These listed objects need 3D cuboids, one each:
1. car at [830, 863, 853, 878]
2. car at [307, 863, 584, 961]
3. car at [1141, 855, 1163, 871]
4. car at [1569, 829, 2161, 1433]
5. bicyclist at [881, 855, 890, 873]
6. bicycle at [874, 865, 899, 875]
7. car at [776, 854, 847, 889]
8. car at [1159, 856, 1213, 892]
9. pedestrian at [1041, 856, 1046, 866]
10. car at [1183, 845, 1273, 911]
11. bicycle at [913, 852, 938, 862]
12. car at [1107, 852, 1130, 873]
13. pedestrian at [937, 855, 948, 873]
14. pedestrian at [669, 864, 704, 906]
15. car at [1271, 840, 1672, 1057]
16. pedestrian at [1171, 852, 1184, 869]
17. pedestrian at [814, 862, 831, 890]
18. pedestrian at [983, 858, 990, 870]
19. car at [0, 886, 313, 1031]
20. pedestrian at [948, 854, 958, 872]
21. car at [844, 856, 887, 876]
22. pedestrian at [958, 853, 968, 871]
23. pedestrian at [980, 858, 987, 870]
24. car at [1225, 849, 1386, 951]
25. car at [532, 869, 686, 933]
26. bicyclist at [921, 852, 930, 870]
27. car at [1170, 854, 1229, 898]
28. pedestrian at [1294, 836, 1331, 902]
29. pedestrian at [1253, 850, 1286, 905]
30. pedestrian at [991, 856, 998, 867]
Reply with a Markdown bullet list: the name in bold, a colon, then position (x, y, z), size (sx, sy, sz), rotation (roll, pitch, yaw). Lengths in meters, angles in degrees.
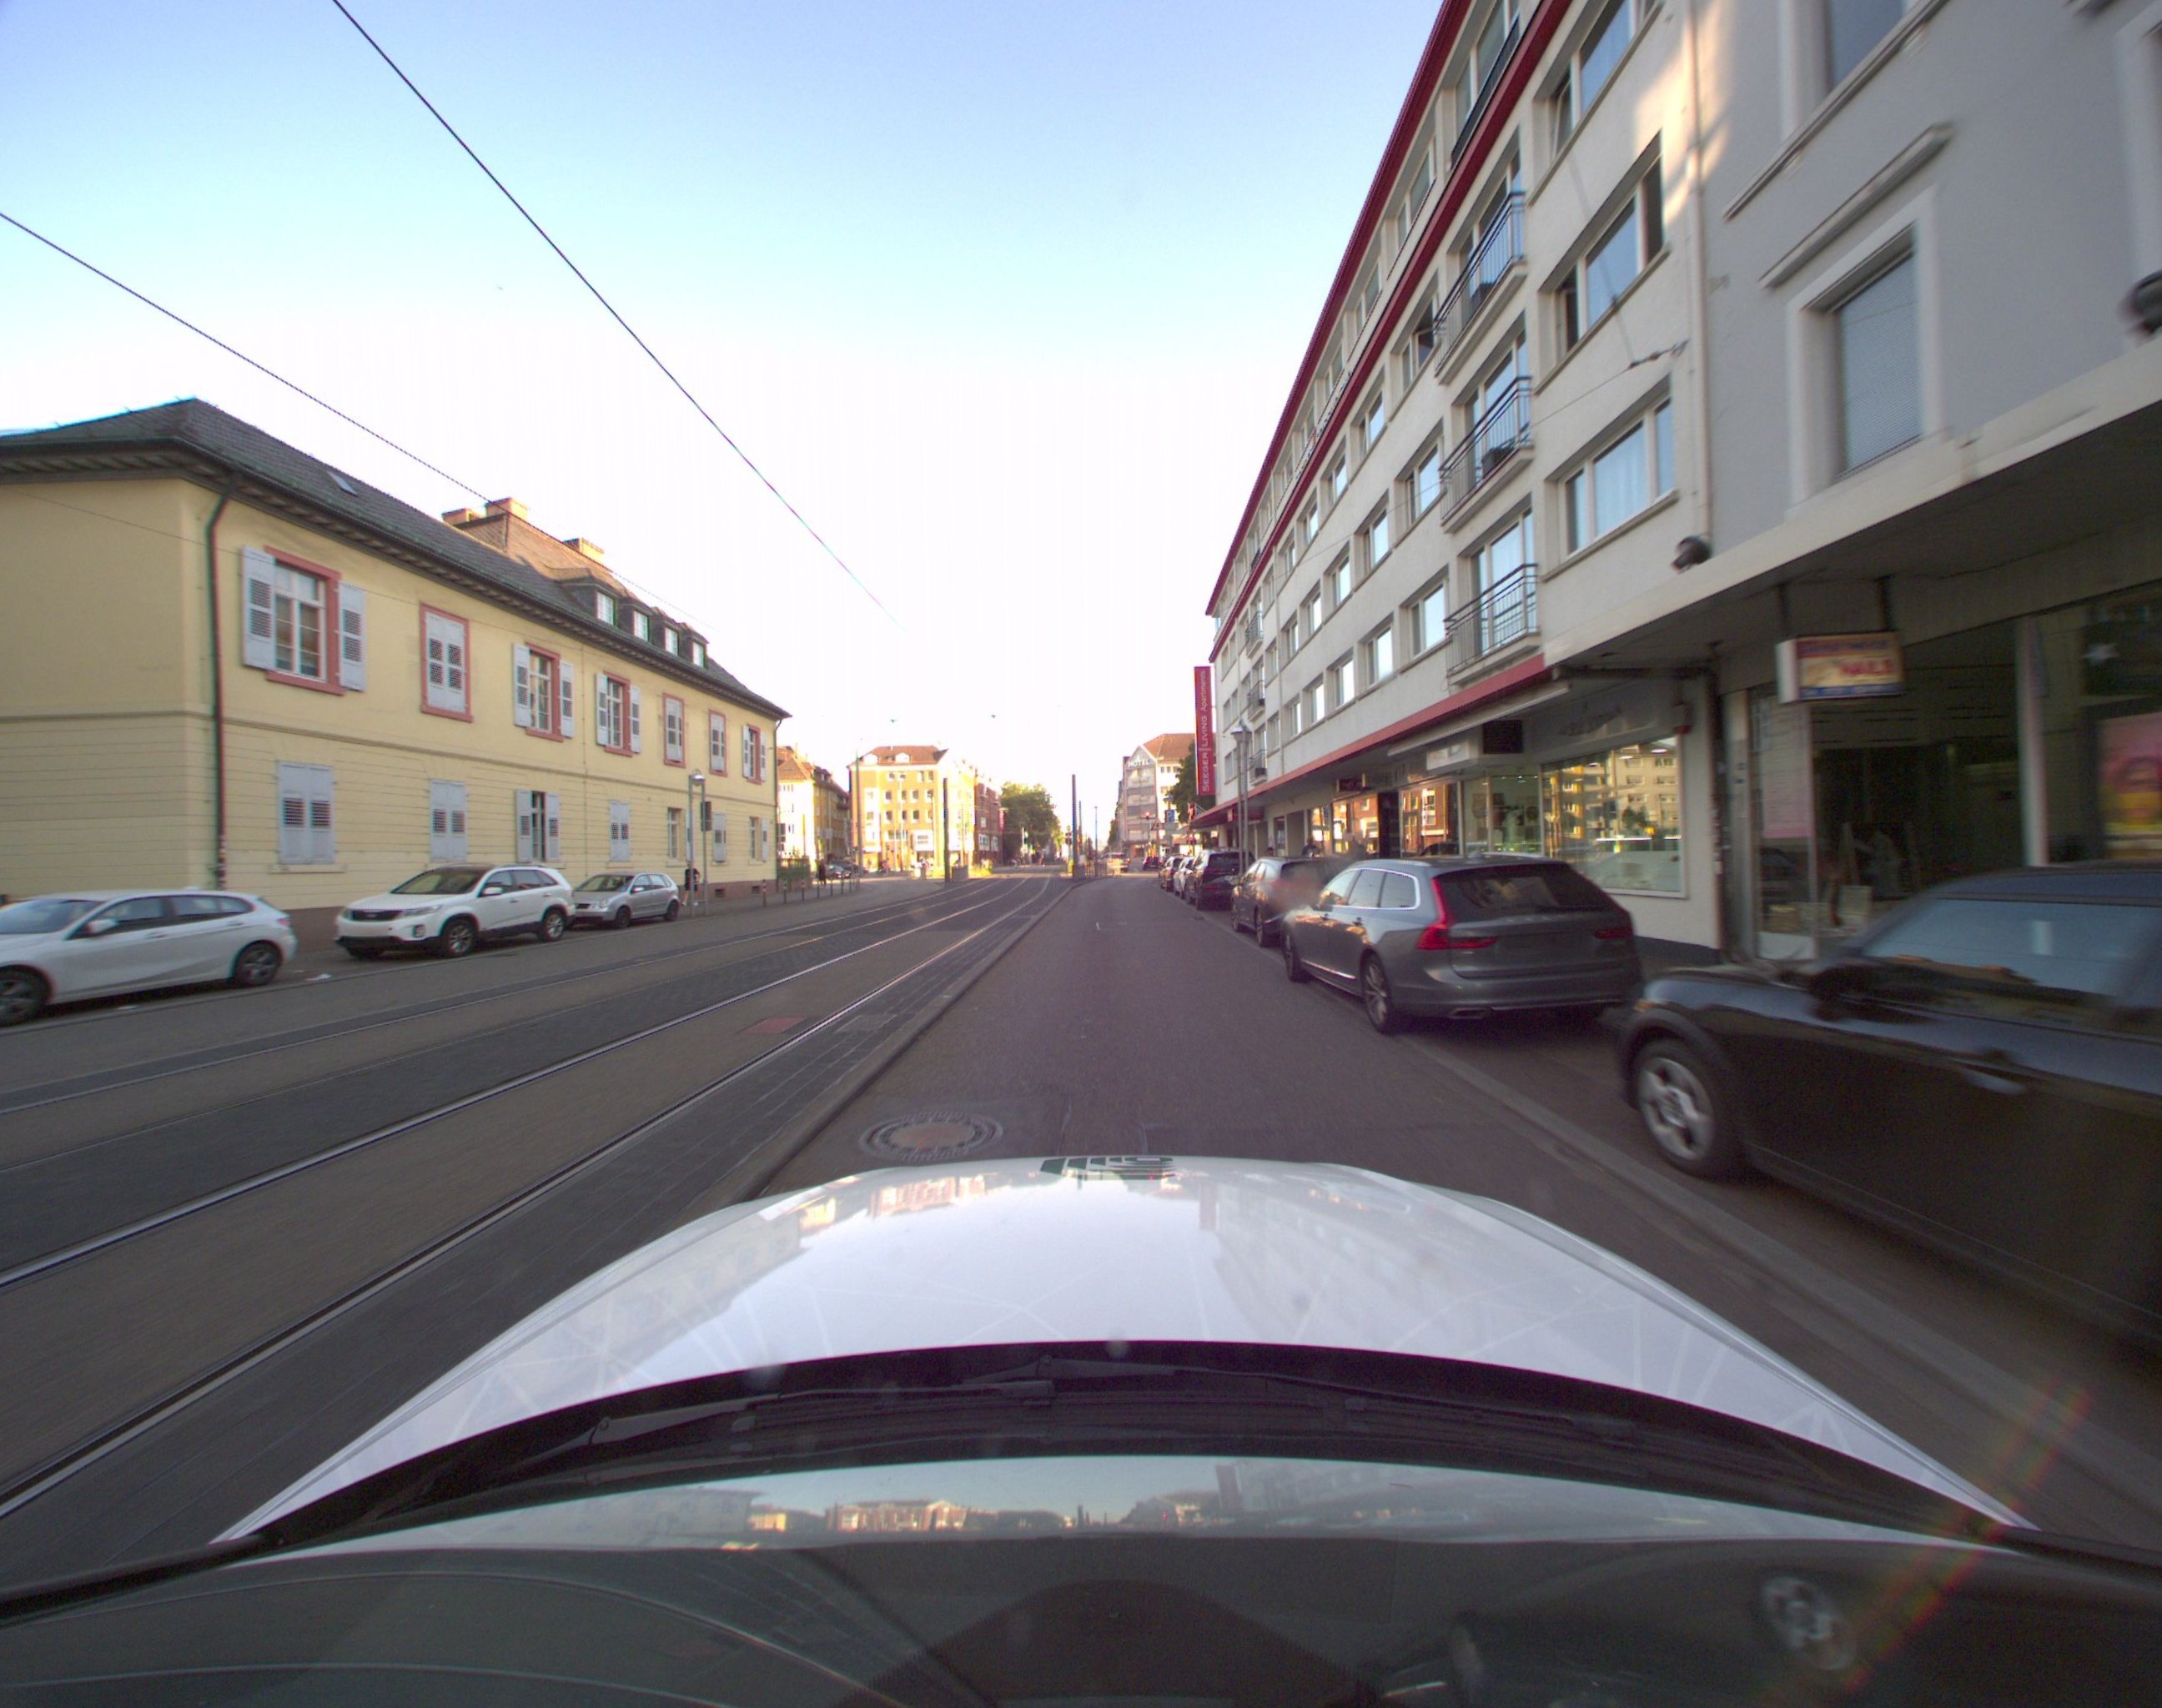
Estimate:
- **car**: position (-23.754, 1.642, 80.707), size (1.774, 1.376, 4.192), rotation (-1, 0, -21)
- **car**: position (-12.482, 1.036, 16.527), size (1.880, 1.661, 4.760), rotation (0, 0, 0)
- **car**: position (6.811, 0.838, 78.512), size (1.759, 1.440, 3.999), rotation (-2, 0, -1)
- **car**: position (3.530, 0.687, 2.542), size (1.719, 1.481, 4.001), rotation (0, -1, 2)
- **bicyclist**: position (-21.320, 1.103, 88.886), size (0.862, 2.014, 0.642), rotation (0, -1, -18)
- **bicycle**: position (-21.233, 1.774, 88.880), size (2.647, 1.099, 0.433), rotation (0, -1, -18)
- **car**: position (-16.628, 1.059, 50.444), size (3.994, 2.013, 1.990), rotation (-2, 0, -15)
- **car**: position (4.350, 0.798, 34.366), size (1.783, 1.413, 4.688), rotation (0, -1, 1)
- **pedestrian**: position (-6.359, 1.204, 138.279), size (0.801, 1.664, 0.704), rotation (0, -1, 4)
- **car**: position (4.042, 0.638, 23.058), size (1.849, 1.701, 4.419), rotation (0, -1, 1)
- **bicycle**: position (-17.068, 0.289, 89.260), size (2.647, 1.099, 0.433), rotation (0, -1, -18)
- **car**: position (3.240, 0.727, 69.405), size (1.828, 1.636, 4.093), rotation (-3, -2, 3)
- **pedestrian**: position (-10.777, 0.781, 63.354), size (0.662, 1.375, 0.651), rotation (-2, 0, -1)
- **pedestrian**: position (-14.523, 1.130, 30.020), size (0.796, 1.542, 0.878), rotation (0, -1, 3)
- **car**: position (3.347, 0.697, 8.225), size (1.785, 1.533, 4.857), rotation (0, -1, 1)
- **pedestrian**: position (9.787, 0.663, 82.636), size (0.828, 1.685, 1.039), rotation (1, -1, -26)
- **pedestrian**: position (-14.422, 1.204, 45.430), size (0.717, 1.536, 0.718), rotation (-2, -1, -3)
- **pedestrian**: position (-16.599, 1.785, 143.390), size (1.090, 2.014, 0.908), rotation (0, -1, -1)
- **car**: position (-12.760, 1.223, 10.421), size (1.715, 1.453, 4.284), rotation (0, 0, 1)
- **pedestrian**: position (-9.984, 0.715, 63.483), size (0.662, 1.375, 0.651), rotation (-1, 0, -1)
- **car**: position (-24.357, 1.323, 92.230), size (4.562, 2.037, 1.993), rotation (-2, 0, -11)
- **pedestrian**: position (-9.226, 0.660, 63.674), size (0.662, 1.375, 0.651), rotation (-2, 0, -1)
- **pedestrian**: position (-16.975, 1.771, 141.981), size (1.090, 2.014, 0.908), rotation (0, -1, -1)
- **car**: position (3.733, 0.688, 14.344), size (1.774, 1.522, 4.359), rotation (0, 0, 2)
- **car**: position (-12.558, 1.190, 22.013), size (1.742, 1.474, 4.001), rotation (0, 0, 1)
- **bicyclist**: position (-17.081, 0.744, 89.250), size (0.863, 2.014, 0.642), rotation (0, -1, -19)
- **car**: position (4.136, 0.746, 28.967), size (1.645, 1.421, 4.192), rotation (0, -1, 2)
- **pedestrian**: position (6.789, 0.426, 23.918), size (0.772, 1.880, 0.934), rotation (-2, -1, 0)
- **pedestrian**: position (5.526, 0.669, 23.902), size (0.730, 1.574, 0.967), rotation (-2, 0, 1)
- **pedestrian**: position (-15.598, 1.380, 146.259), size (1.090, 2.014, 1.162), rotation (0, -1, -1)
